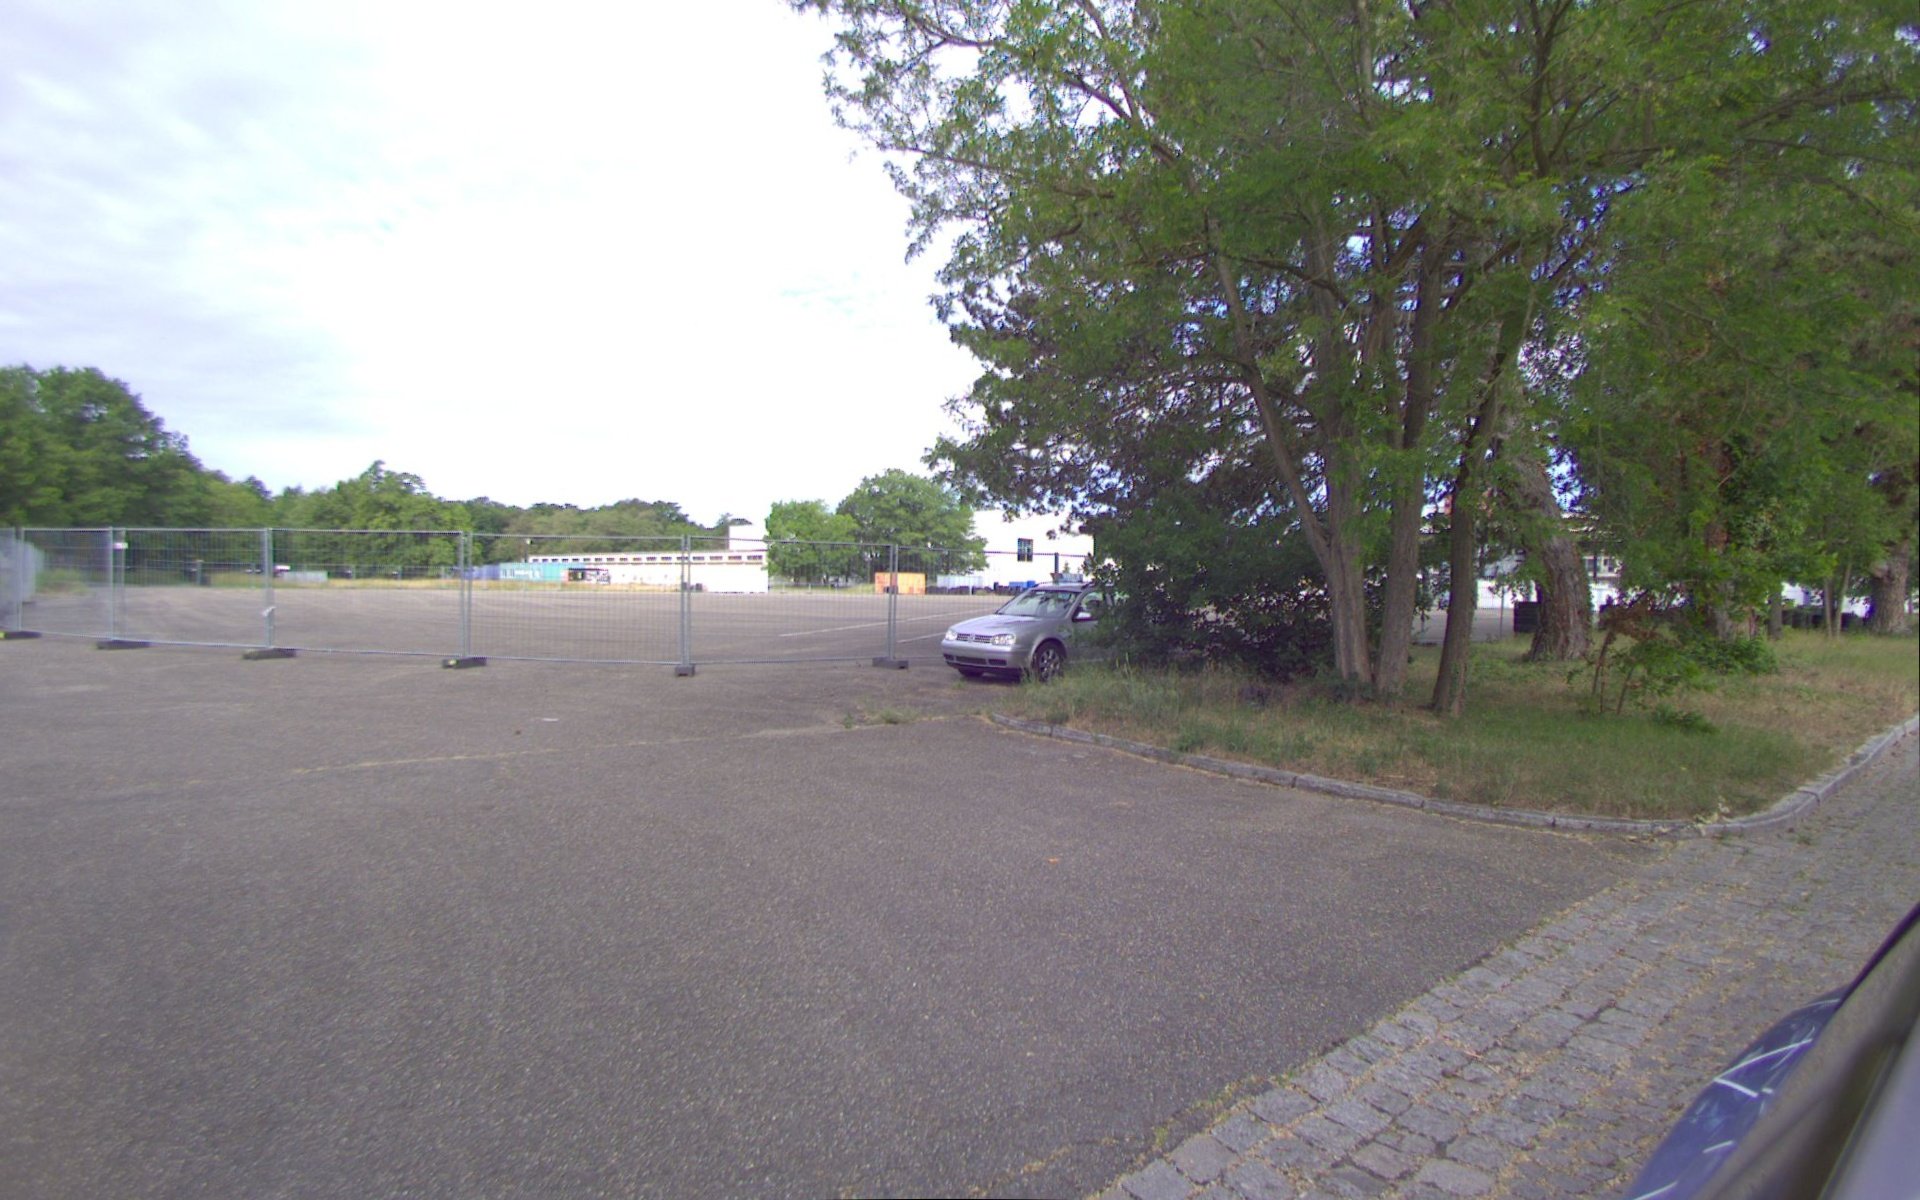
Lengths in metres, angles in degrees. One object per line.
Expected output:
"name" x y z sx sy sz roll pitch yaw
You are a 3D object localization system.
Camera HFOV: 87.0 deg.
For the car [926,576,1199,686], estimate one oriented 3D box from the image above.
"car" 1.678 0.401 15.625 4.251 1.466 1.758 0 1 -41
